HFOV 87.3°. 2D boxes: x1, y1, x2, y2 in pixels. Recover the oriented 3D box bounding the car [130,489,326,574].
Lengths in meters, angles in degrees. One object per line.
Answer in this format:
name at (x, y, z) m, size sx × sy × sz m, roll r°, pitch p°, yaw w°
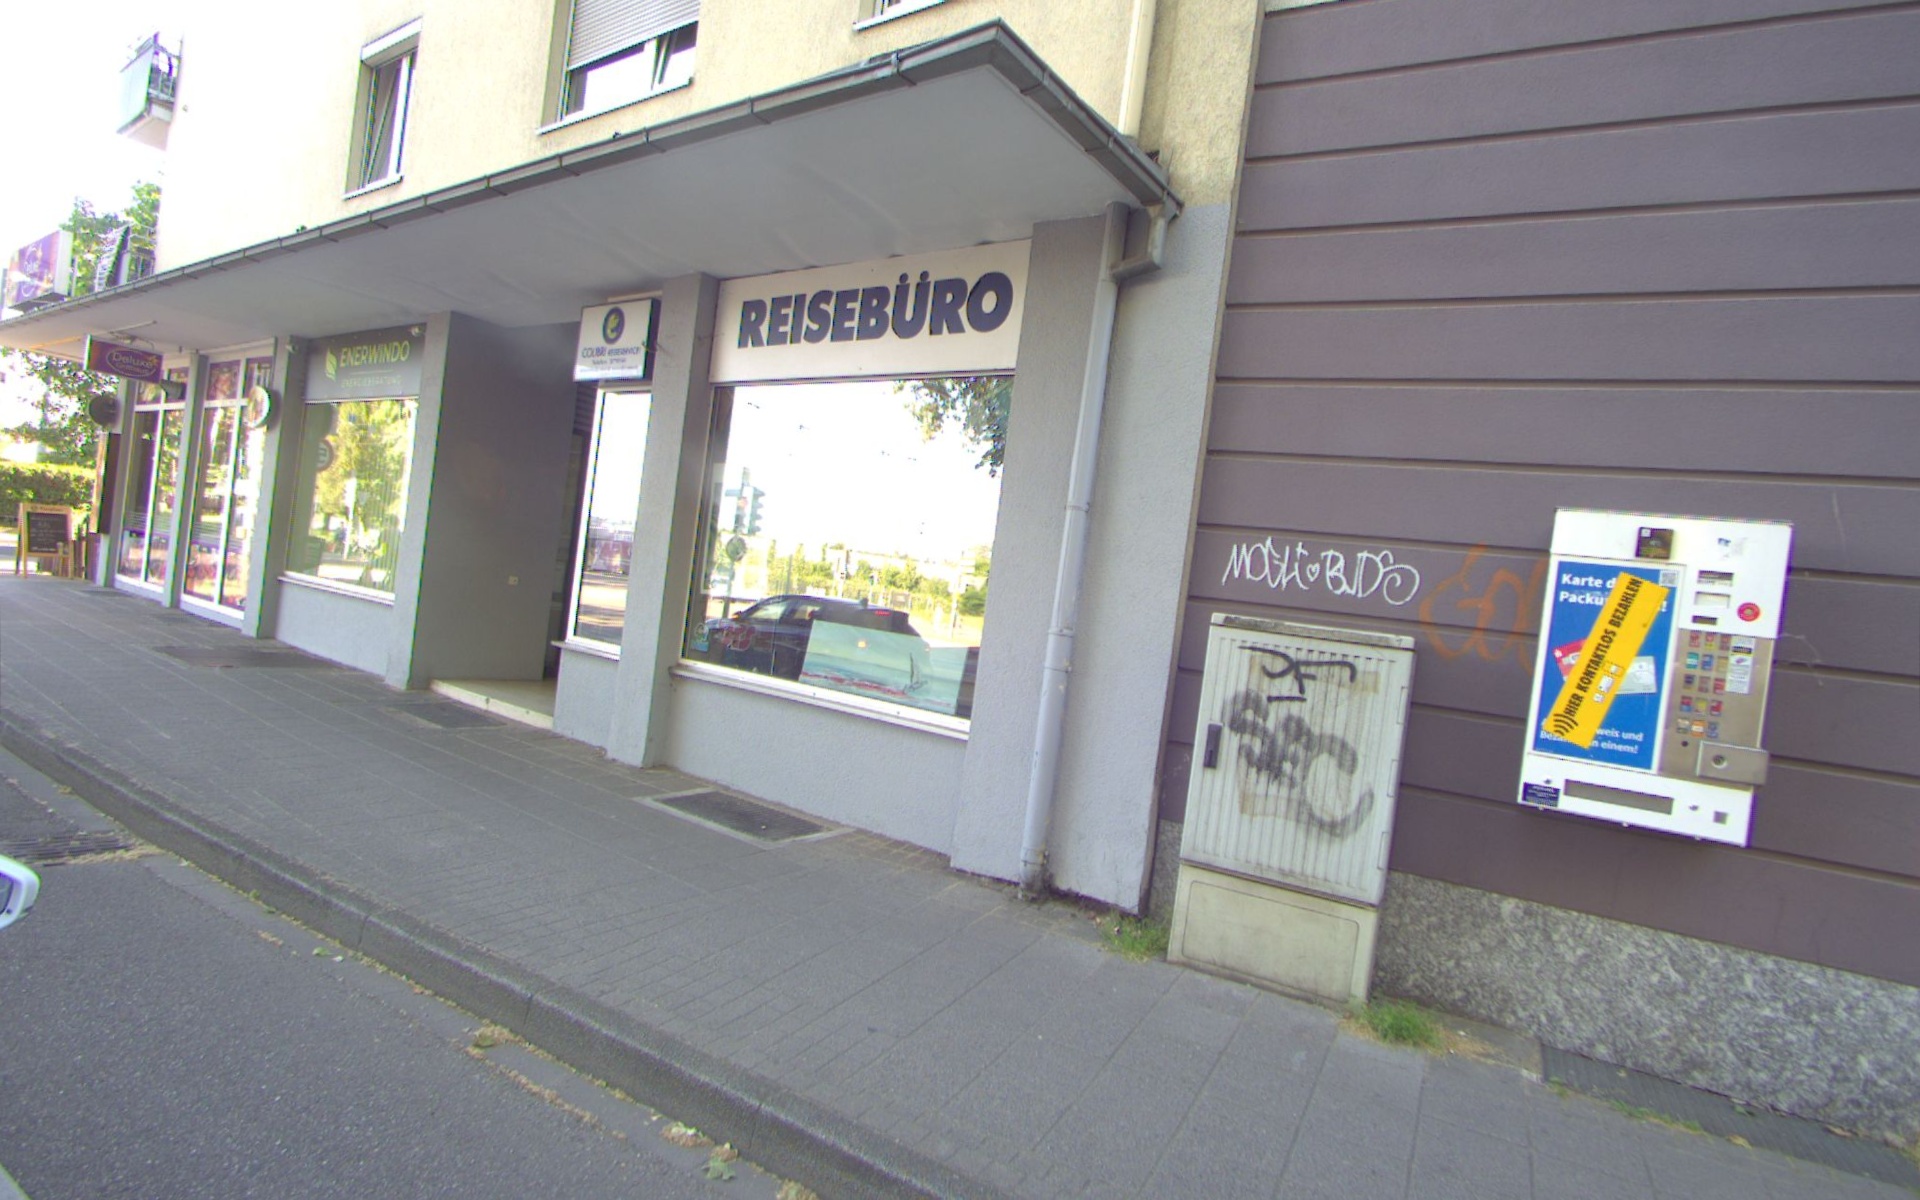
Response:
car at (-21.070, -1.906, 29.089) m, size 1.781 × 1.835 × 4.172 m, roll 4°, pitch -3°, yaw 40°
